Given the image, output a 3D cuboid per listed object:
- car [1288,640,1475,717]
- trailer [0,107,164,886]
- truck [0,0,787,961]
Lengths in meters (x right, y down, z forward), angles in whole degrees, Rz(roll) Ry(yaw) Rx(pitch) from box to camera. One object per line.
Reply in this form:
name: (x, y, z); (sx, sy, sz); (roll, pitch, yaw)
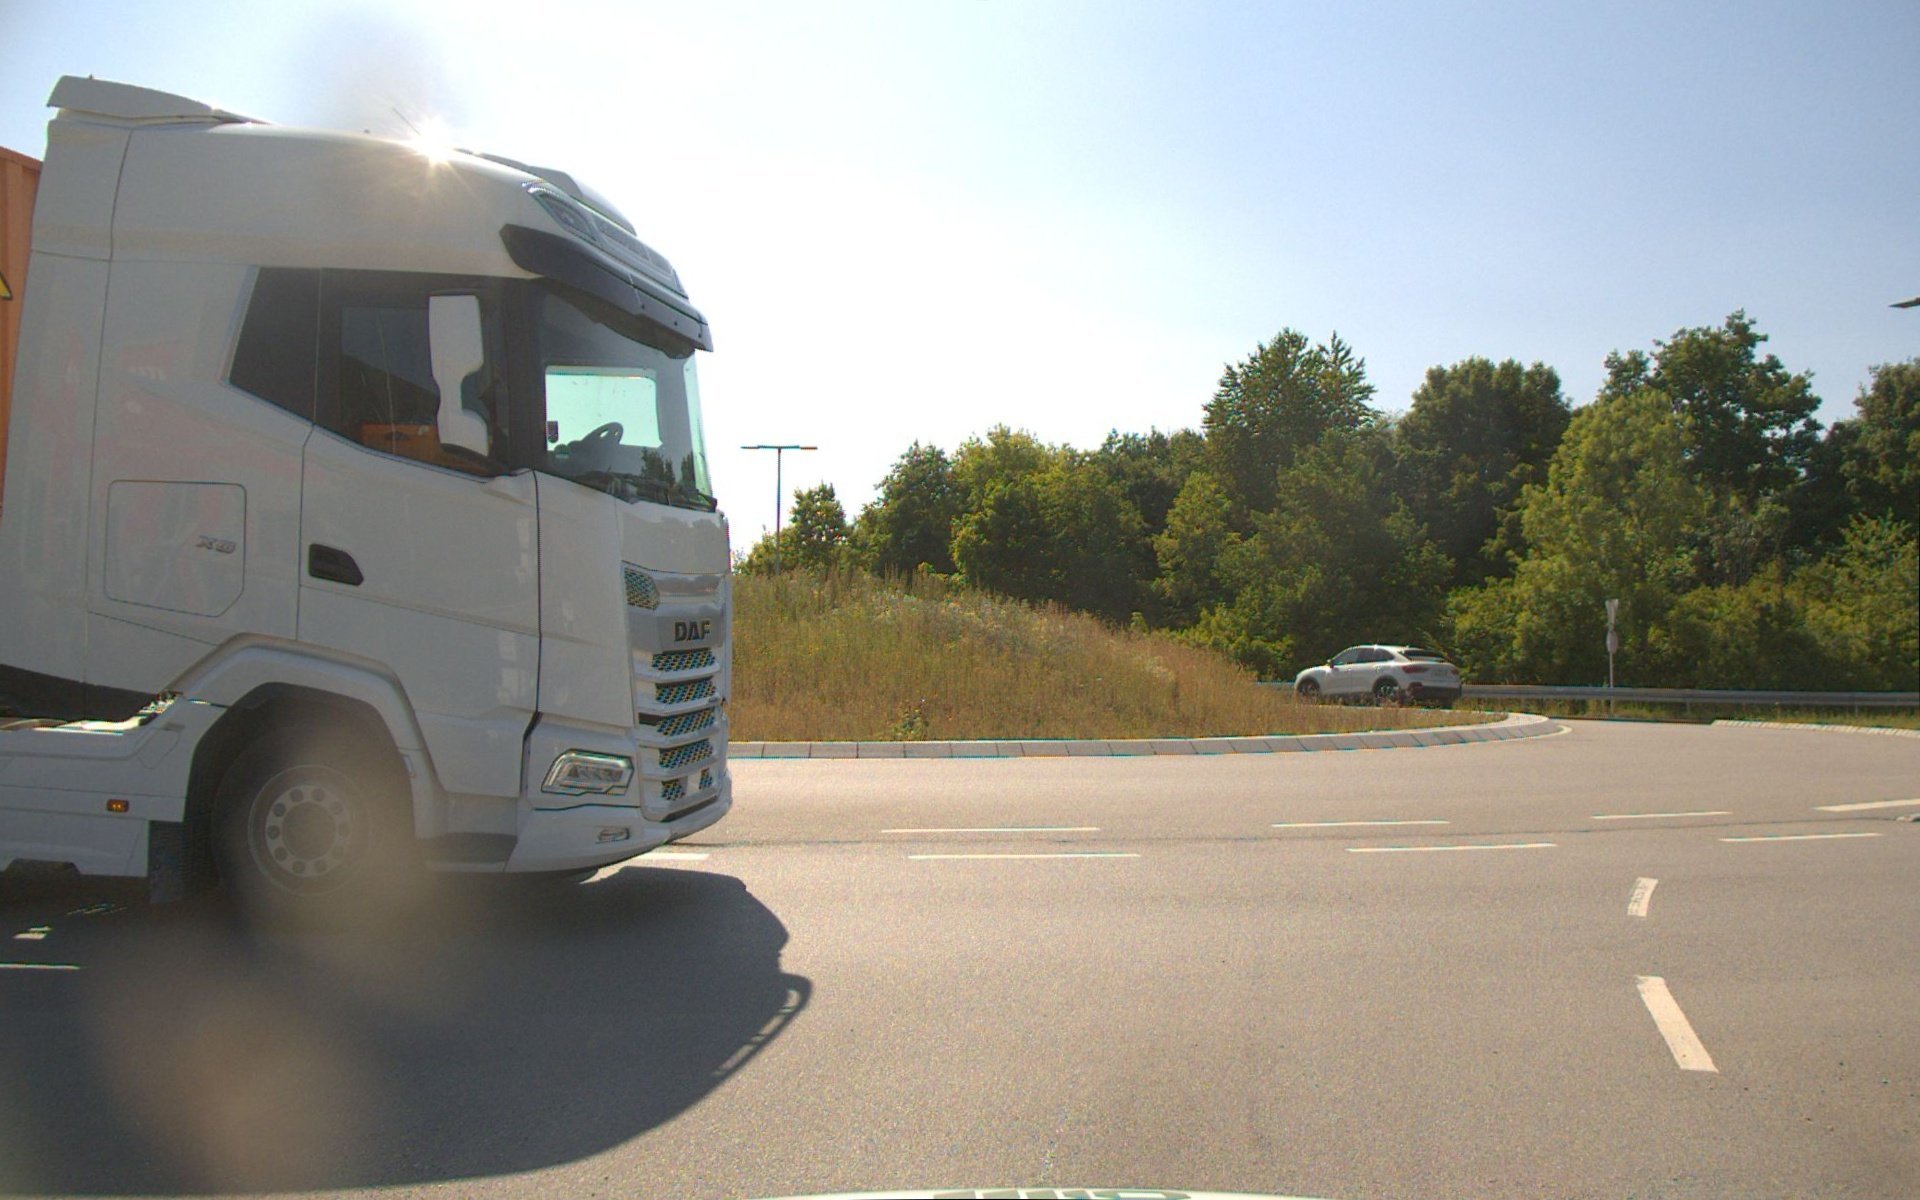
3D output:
car: (9.799, 1.794, 38.775); (1.821, 1.624, 4.283); (2, -1, -29)
trailer: (-11.114, -0.586, 10.186); (12.057, 4.227, 2.563); (0, -1, 12)
truck: (-4.375, -0.556, 8.993); (6.276, 4.179, 2.665); (1, -1, 11)
